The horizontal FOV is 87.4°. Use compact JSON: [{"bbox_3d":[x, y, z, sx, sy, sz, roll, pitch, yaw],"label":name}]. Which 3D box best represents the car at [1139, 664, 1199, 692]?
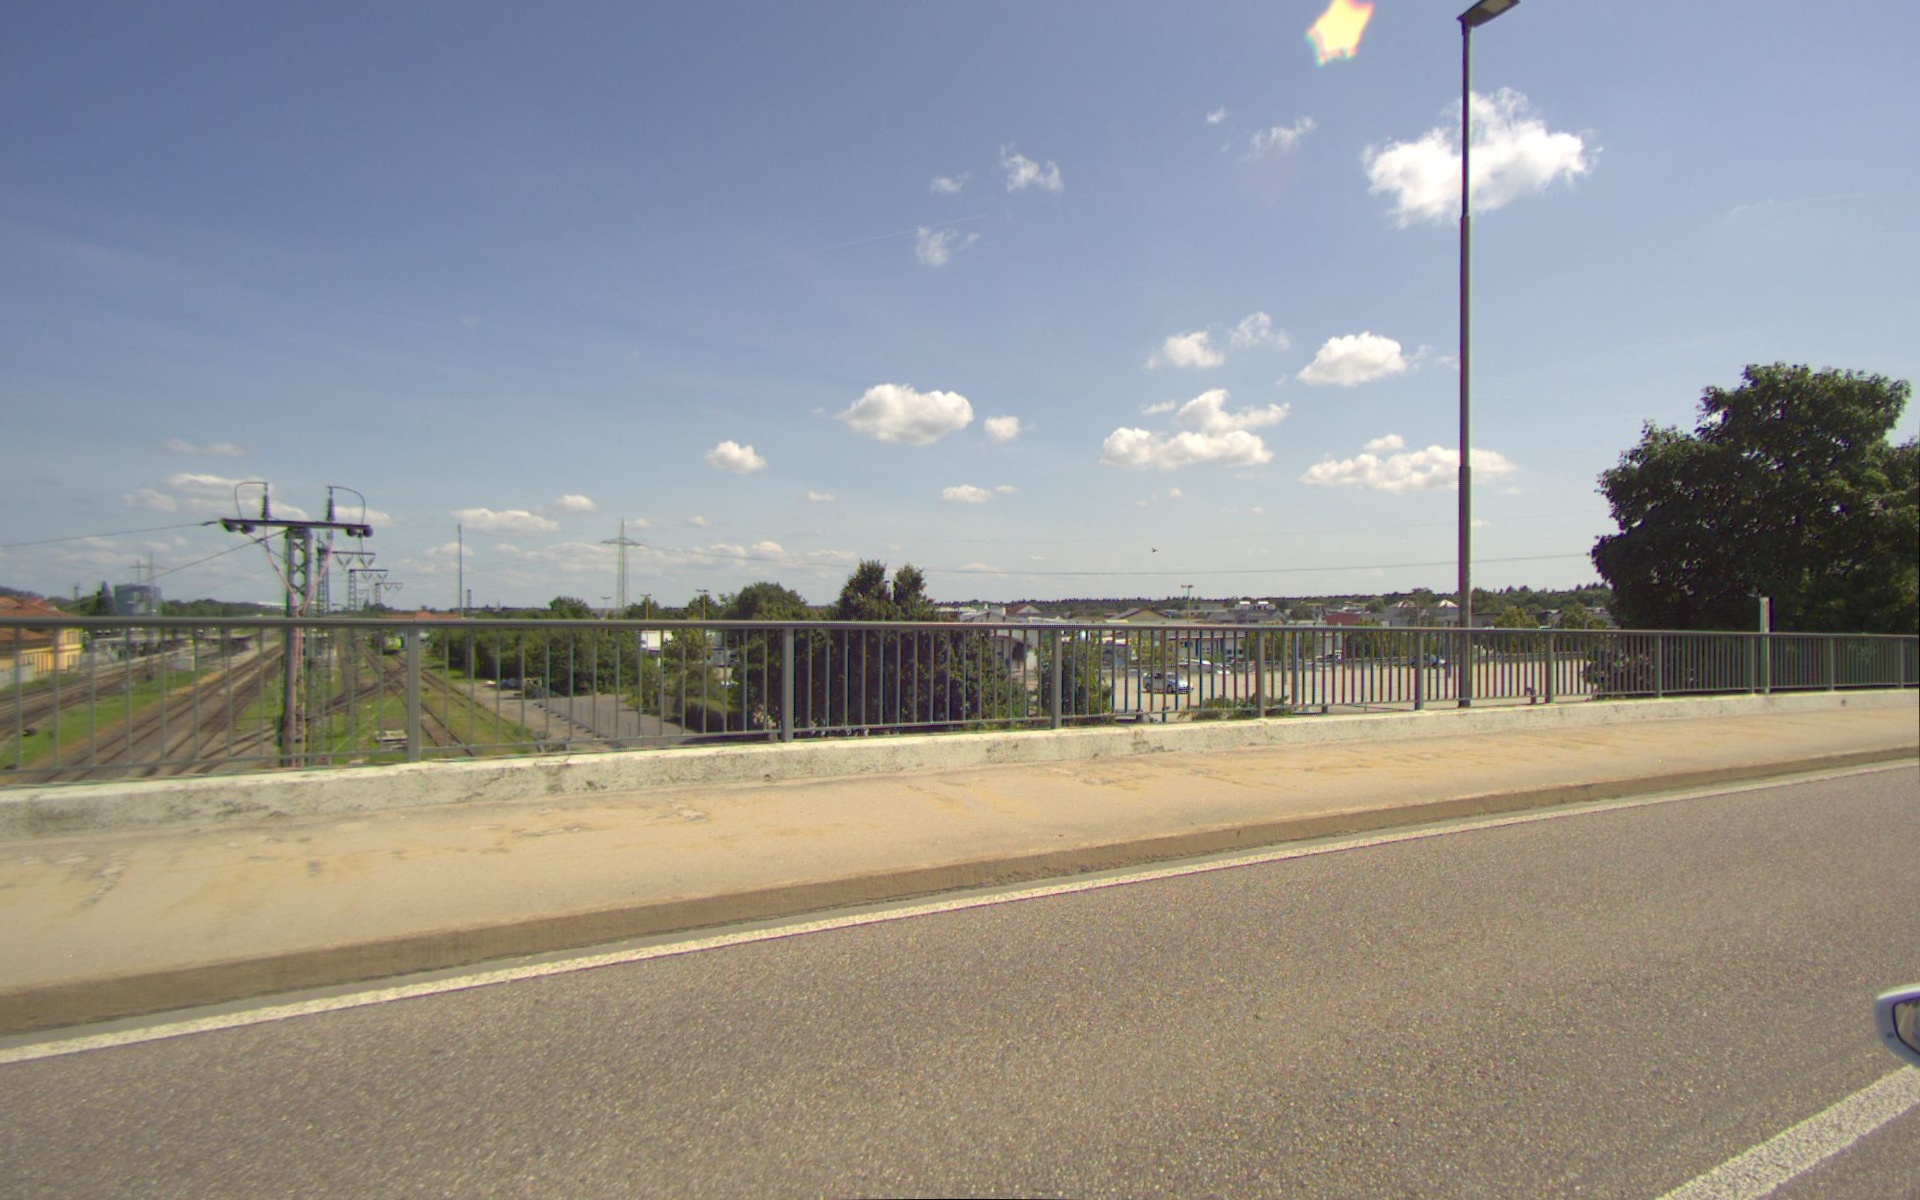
[{"bbox_3d":[14.860,5.520,71.455,1.890,1.770,3.958,2,-3,-37],"label":"car"}]
